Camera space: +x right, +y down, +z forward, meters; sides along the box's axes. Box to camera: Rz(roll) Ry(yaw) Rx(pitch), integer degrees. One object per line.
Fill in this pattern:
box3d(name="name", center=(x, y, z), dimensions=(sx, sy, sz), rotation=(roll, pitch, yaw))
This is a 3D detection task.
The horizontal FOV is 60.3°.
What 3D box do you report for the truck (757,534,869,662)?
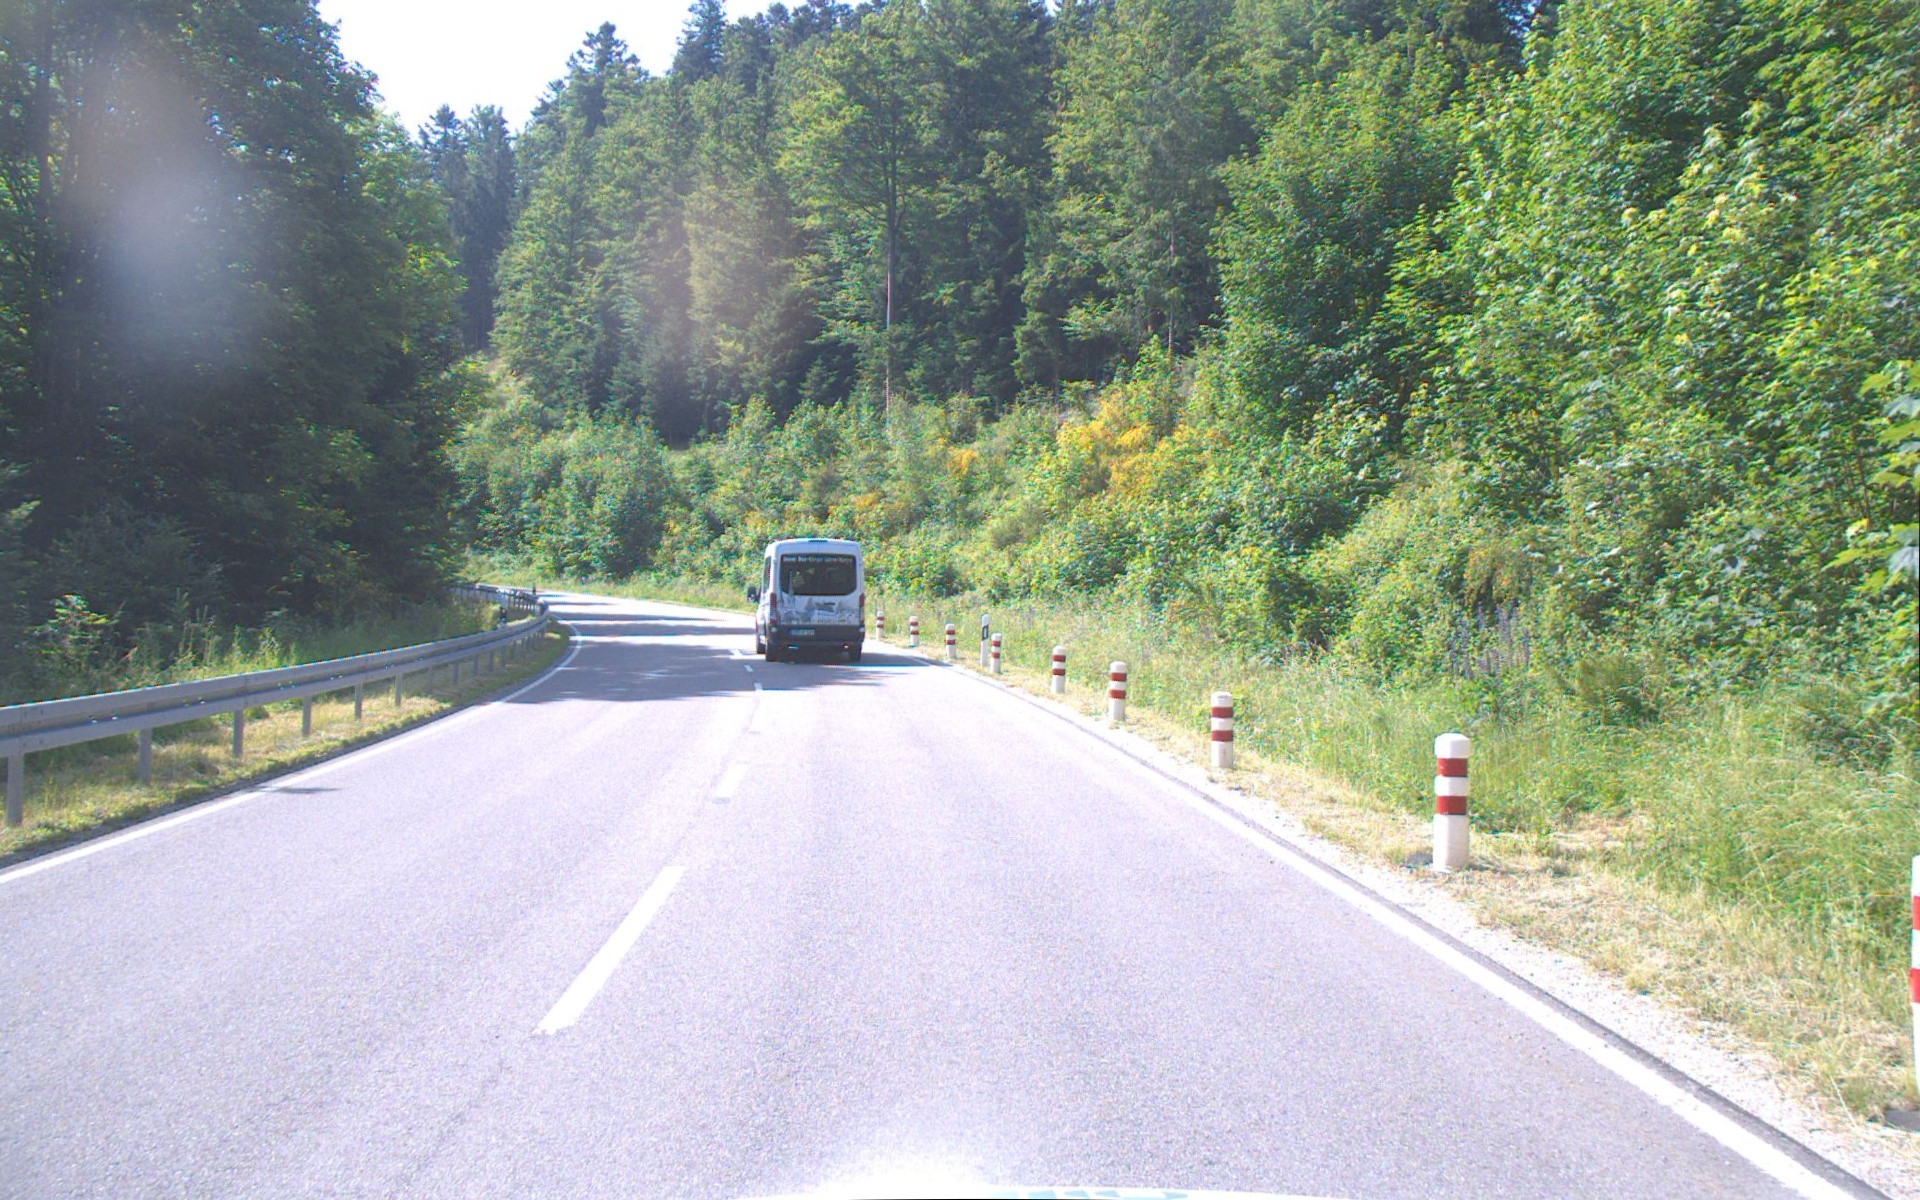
box3d(name="truck", center=(-3.254, -0.068, 35.644), dimensions=(2.076, 2.542, 5.348), rotation=(0, 1, -9))
